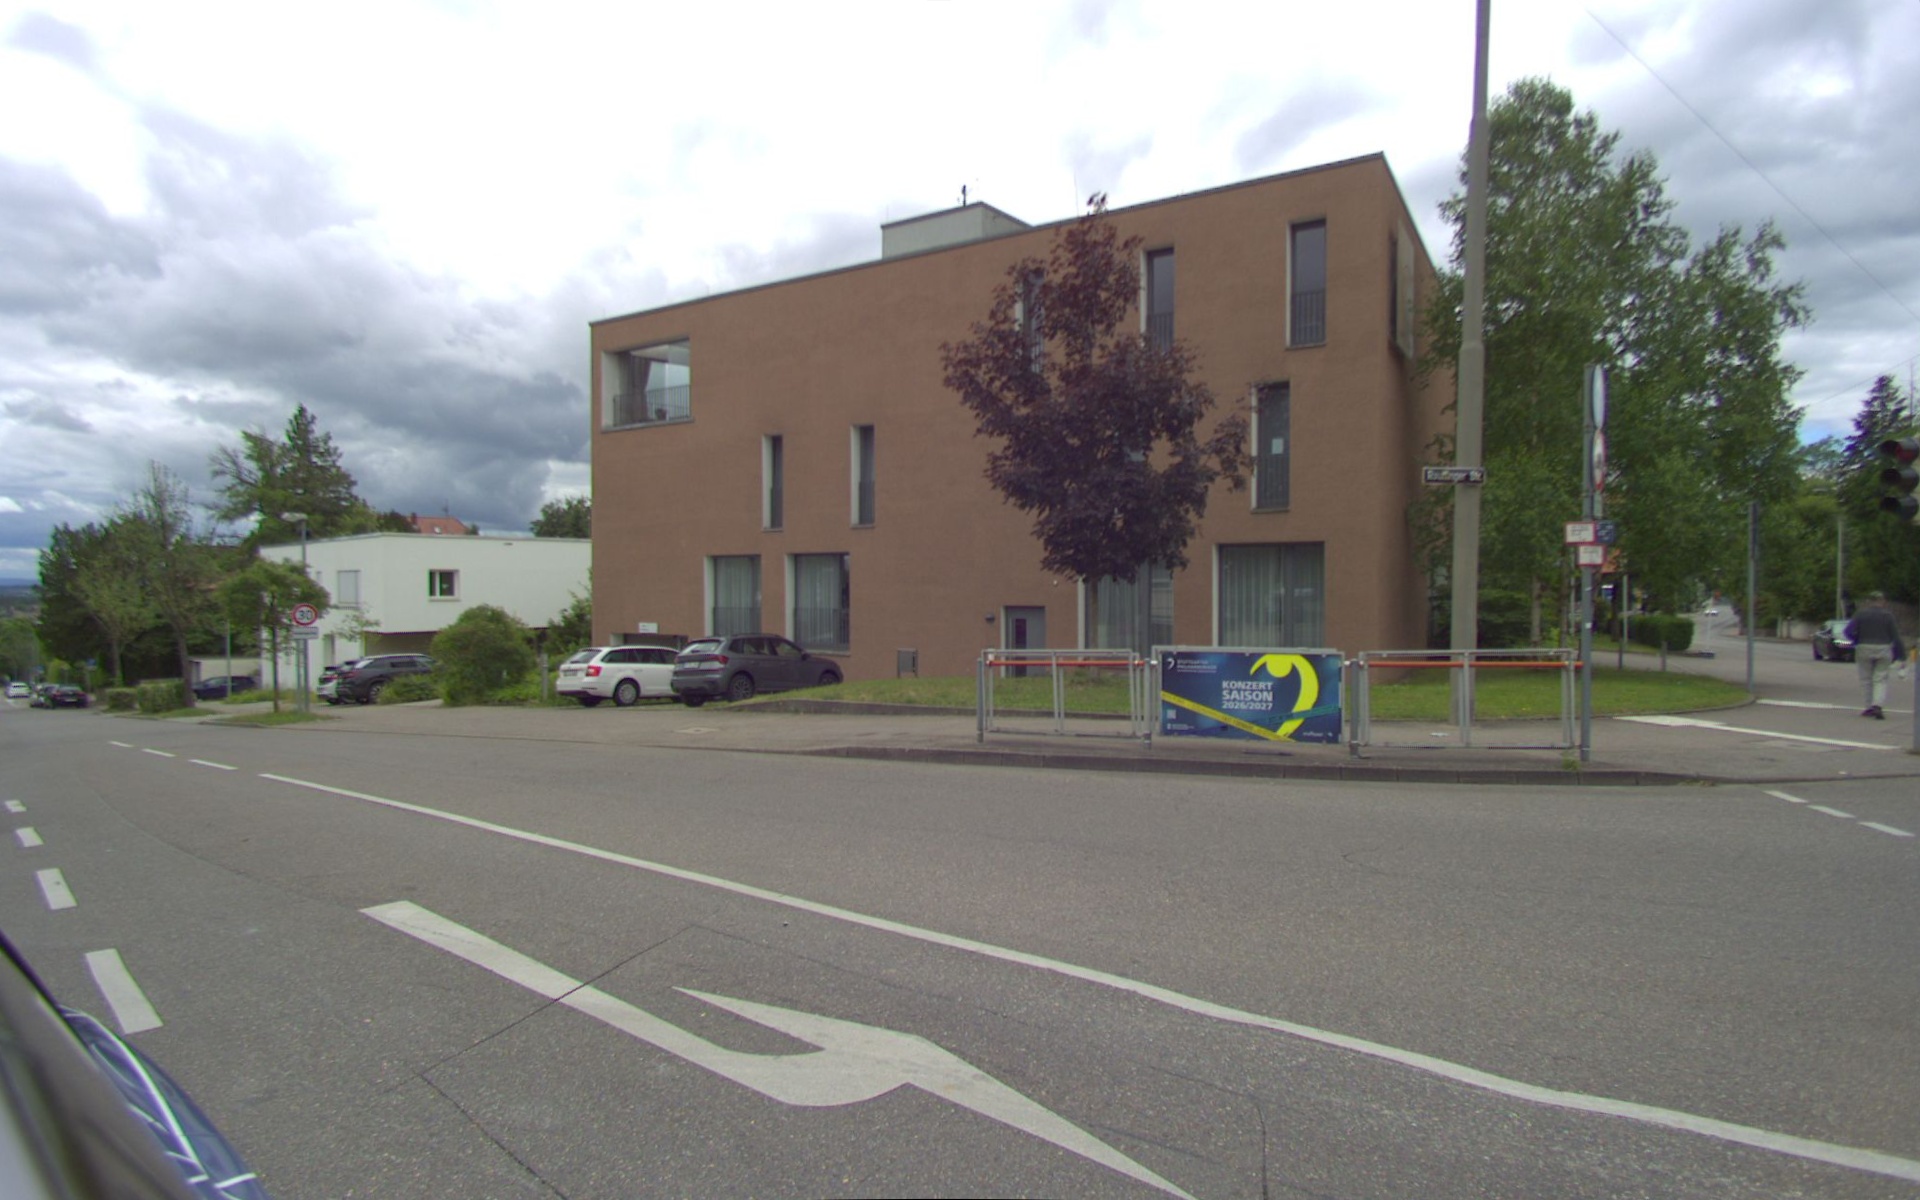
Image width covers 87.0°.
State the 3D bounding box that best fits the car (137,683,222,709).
[{"bbox_3d":[-46.977,5.745,60.929,3.939,1.296,1.665,0,-4,-43],"label":"car"}]

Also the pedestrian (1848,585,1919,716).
[{"bbox_3d":[12.033,0.651,13.143,0.683,1.646,0.730,-3,-3,41],"label":"pedestrian"}]

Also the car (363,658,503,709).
[{"bbox_3d":[-18.237,2.883,35.145,1.727,1.497,3.943,-6,-4,43],"label":"car"}]

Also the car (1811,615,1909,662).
[{"bbox_3d":[31.408,1.327,35.445,1.825,1.547,3.957,-1,-2,31],"label":"car"}]

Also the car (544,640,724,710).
[{"bbox_3d":[-8.004,1.815,25.120,1.724,1.497,3.950,-5,-4,37],"label":"car"}]

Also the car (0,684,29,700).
[{"bbox_3d":[-95.912,9.310,102.347,4.362,1.432,1.861,-3,-3,38],"label":"car"}]

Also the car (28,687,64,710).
[{"bbox_3d":[-61.562,6.637,68.142,1.638,1.432,4.371,0,-4,-44],"label":"car"}]

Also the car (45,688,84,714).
[{"bbox_3d":[-54.939,6.178,62.063,1.638,1.432,4.003,0,-4,-44],"label":"car"}]

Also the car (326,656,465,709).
[{"bbox_3d":[-19.980,2.904,35.930,1.793,1.608,3.943,-6,-4,43],"label":"car"}]

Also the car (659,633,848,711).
[{"bbox_3d":[-4.506,1.552,22.518,1.724,1.497,3.950,-5,-4,37],"label":"car"}]
